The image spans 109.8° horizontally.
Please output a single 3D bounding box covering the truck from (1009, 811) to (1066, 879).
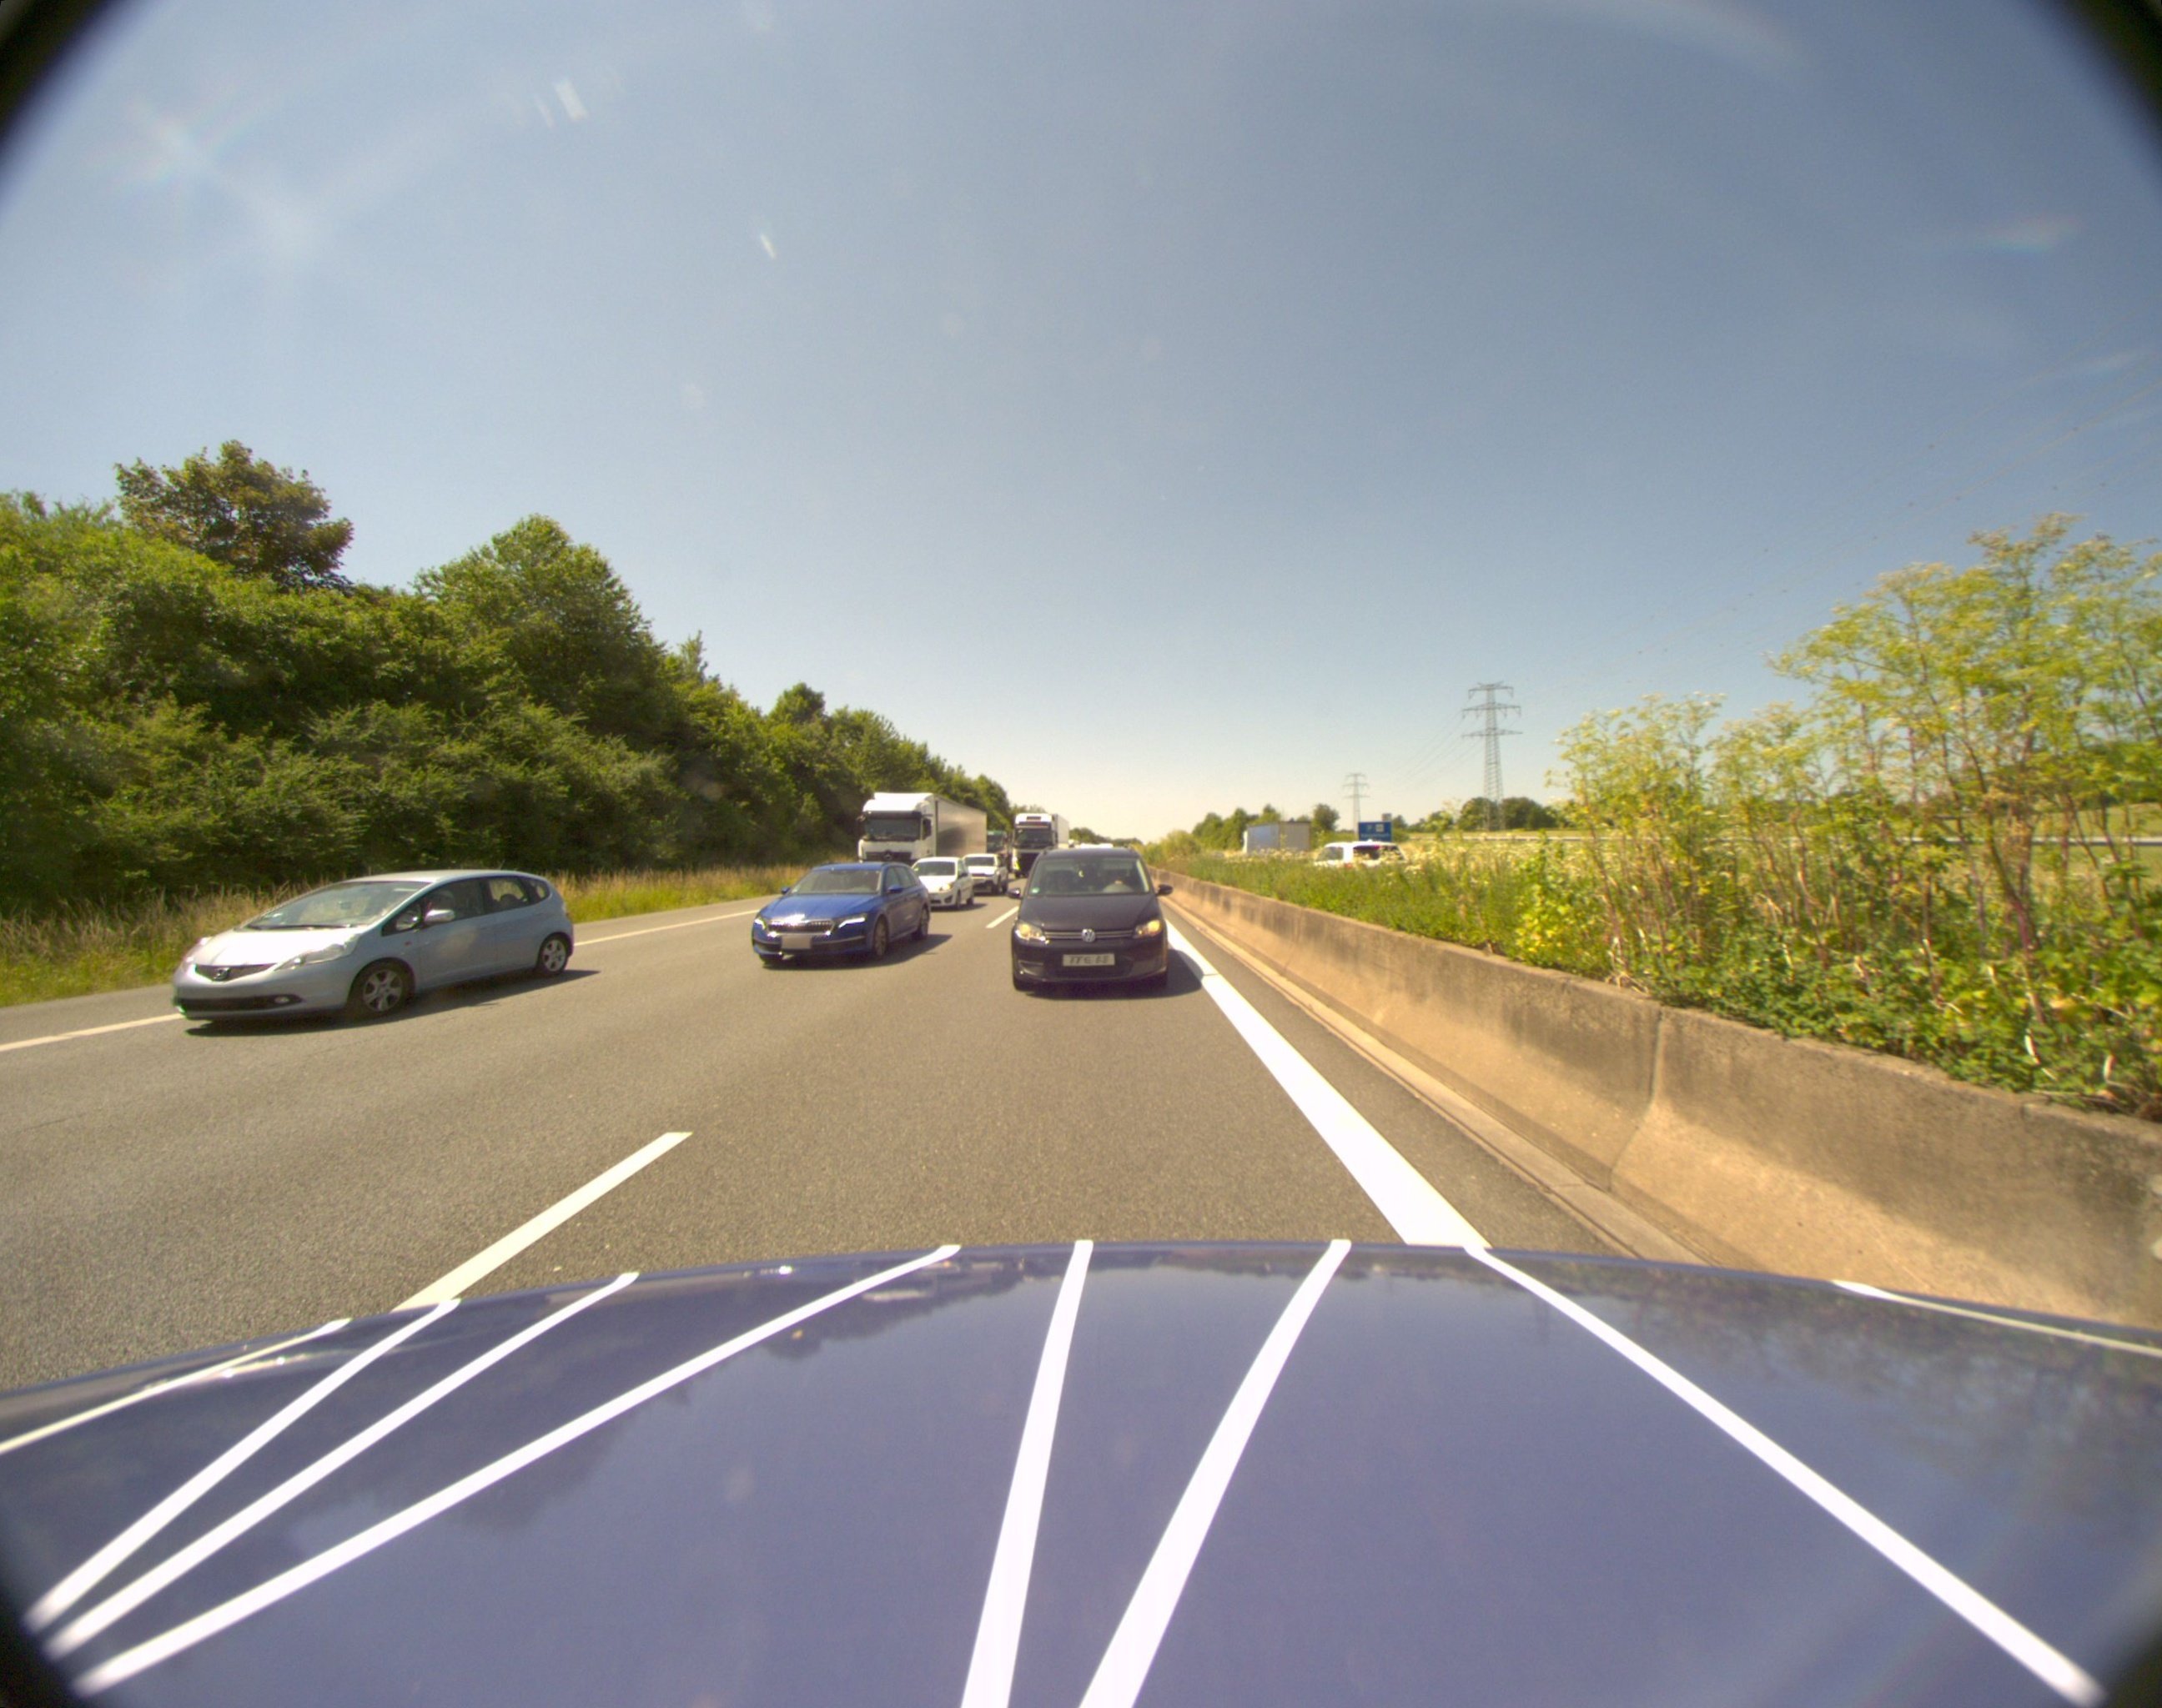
[{"bbox_3d":[-2.638,-0.586,48.904,2.750,3.972,8.361,-1,1,3],"label":"truck"}]

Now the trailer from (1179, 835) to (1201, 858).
[{"bbox_3d":[21.621,-1.513,150.973,2.828,4.182,10.684,-3,1,2],"label":"trailer"}]

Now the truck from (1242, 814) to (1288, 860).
[{"bbox_3d":[17.721,-1.614,73.690,3.019,4.203,6.685,-1,1,2],"label":"truck"}]

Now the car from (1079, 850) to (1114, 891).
[{"bbox_3d":[0.707,0.677,33.081,1.357,1.630,2.994,-3,1,3],"label":"car"}]

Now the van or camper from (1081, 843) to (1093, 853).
[{"bbox_3d":[1.128,-1.266,152.987,2.189,2.018,4.364,-1,1,3],"label":"van or camper"}]

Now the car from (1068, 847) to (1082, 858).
[{"bbox_3d":[-0.767,-0.187,97.362,1.650,1.336,3.381,-1,1,3],"label":"car"}]

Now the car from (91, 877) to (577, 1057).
[{"bbox_3d":[-7.992,1.073,8.764,1.666,1.453,3.922,0,1,1],"label":"car"}]

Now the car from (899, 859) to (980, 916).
[{"bbox_3d":[-4.018,0.897,22.120,1.609,1.426,3.809,0,1,0],"label":"car"}]

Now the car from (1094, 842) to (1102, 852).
[{"bbox_3d":[4.251,-1.766,192.820,1.998,2.302,4.229,-1,1,2],"label":"car"}]

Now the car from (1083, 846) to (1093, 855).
[{"bbox_3d":[1.251,-0.637,136.750,1.652,1.636,4.000,-1,1,3],"label":"car"}]

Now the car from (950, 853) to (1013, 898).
[{"bbox_3d":[-3.730,0.774,29.059,1.748,1.549,3.884,0,1,2],"label":"car"}]

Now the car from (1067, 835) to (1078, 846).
[{"bbox_3d":[-1.685,-2.634,150.583,1.998,2.002,4.000,-1,1,2],"label":"car"}]

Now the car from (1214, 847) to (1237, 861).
[{"bbox_3d":[13.598,0.005,71.749,1.539,1.231,3.393,-1,1,1],"label":"car"}]

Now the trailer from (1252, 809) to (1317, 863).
[{"bbox_3d":[17.397,-1.502,65.796,3.019,4.203,10.980,-1,1,2],"label":"trailer"}]

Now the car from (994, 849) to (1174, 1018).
[{"bbox_3d":[0.115,0.779,10.177,1.758,1.571,5.291,-1,1,2],"label":"car"}]

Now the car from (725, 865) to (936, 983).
[{"bbox_3d":[-3.763,0.969,12.388,1.780,1.408,4.572,0,1,2],"label":"car"}]

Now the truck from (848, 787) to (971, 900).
[{"bbox_3d":[-7.021,-0.439,32.674,2.879,4.133,8.475,-1,1,3],"label":"truck"}]

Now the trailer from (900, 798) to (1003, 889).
[{"bbox_3d":[-6.602,-0.565,41.258,2.879,4.133,12.075,-1,1,3],"label":"trailer"}]

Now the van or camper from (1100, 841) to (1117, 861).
[{"bbox_3d":[3.496,-0.400,96.462,1.956,2.368,4.037,-3,1,3],"label":"van or camper"}]

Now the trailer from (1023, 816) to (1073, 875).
[{"bbox_3d":[-2.259,-0.668,56.254,2.776,3.951,9.156,-1,1,3],"label":"trailer"}]

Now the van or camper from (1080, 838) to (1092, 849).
[{"bbox_3d":[1.305,-2.630,191.674,2.745,2.680,5.363,-1,1,2],"label":"van or camper"}]

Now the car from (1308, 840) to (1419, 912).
[{"bbox_3d":[7.667,0.549,20.997,1.685,1.791,3.669,-1,1,0],"label":"car"}]

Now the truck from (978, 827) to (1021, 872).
[{"bbox_3d":[-6.088,-0.353,57.510,2.299,3.128,5.675,-1,1,3],"label":"truck"}]
